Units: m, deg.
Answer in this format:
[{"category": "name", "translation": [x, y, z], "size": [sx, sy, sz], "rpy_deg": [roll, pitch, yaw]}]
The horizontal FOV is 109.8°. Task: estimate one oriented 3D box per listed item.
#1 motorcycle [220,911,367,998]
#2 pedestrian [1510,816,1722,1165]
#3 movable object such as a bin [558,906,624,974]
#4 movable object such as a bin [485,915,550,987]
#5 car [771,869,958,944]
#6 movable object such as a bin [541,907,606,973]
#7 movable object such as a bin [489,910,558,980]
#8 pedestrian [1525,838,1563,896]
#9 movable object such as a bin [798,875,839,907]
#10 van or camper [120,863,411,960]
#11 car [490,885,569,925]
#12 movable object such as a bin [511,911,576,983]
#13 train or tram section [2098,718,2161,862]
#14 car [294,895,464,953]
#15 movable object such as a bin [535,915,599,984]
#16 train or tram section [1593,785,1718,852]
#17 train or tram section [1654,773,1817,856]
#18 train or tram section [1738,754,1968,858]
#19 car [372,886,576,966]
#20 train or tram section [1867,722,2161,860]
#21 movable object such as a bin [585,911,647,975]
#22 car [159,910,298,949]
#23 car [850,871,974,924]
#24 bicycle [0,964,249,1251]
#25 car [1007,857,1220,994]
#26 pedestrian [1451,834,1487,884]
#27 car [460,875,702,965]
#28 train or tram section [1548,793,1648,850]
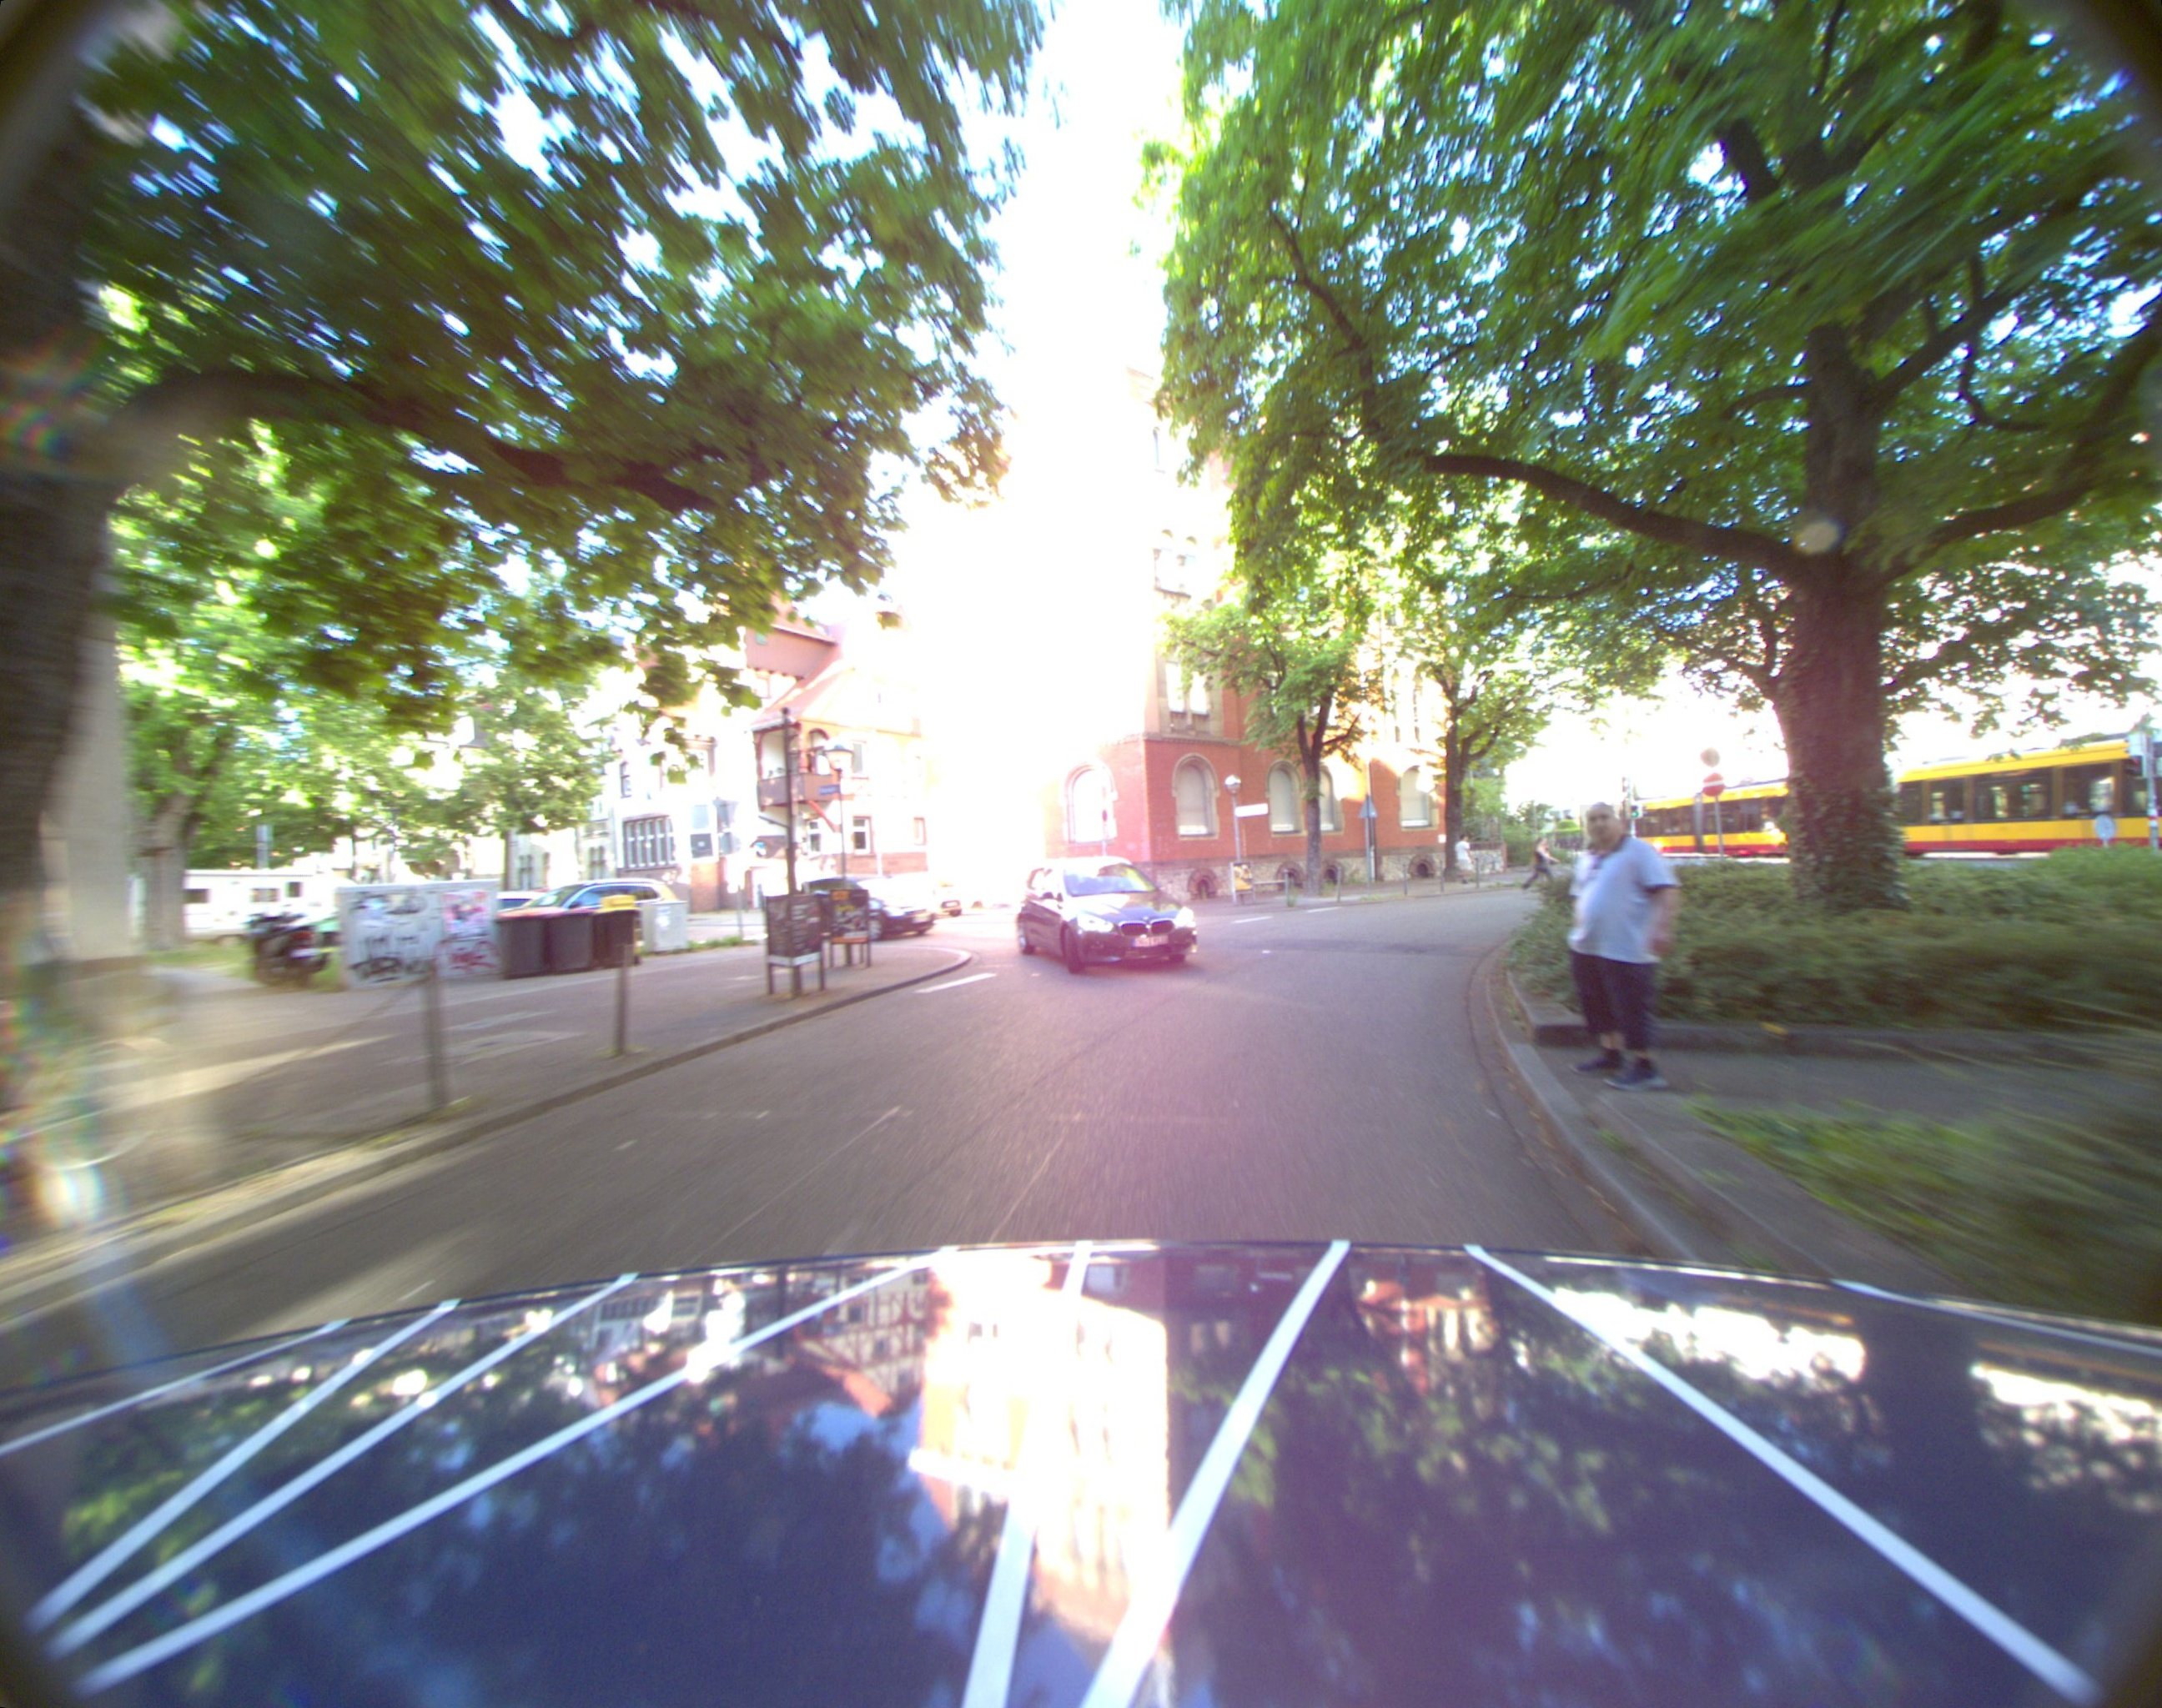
[{"category": "motorcycle", "translation": [-13.019, 1.635, 12.563], "size": [2.177, 1.272, 0.980], "rpy_deg": [-3, 0, 24]}, {"category": "pedestrian", "translation": [2.988, 0.657, 4.231], "size": [0.778, 1.674, 0.920], "rpy_deg": [-3, 0, 43]}, {"category": "movable object such as a bin", "translation": [-8.983, 1.558, 13.937], "size": [0.700, 1.146, 0.741], "rpy_deg": [-3, 0, 34]}, {"category": "movable object such as a bin", "translation": [-9.170, 1.568, 12.375], "size": [0.672, 1.077, 0.594], "rpy_deg": [-3, 0, 32]}, {"category": "car", "translation": [-5.487, 1.334, 19.185], "size": [4.252, 1.584, 2.003], "rpy_deg": [-4, 1, 29]}, {"category": "movable object such as a bin", "translation": [-9.581, 1.603, 14.357], "size": [0.714, 1.146, 0.741], "rpy_deg": [-3, 0, 34]}, {"category": "movable object such as a bin", "translation": [-10.038, 1.623, 13.685], "size": [0.700, 1.146, 0.741], "rpy_deg": [-3, 0, 34]}, {"category": "pedestrian", "translation": [13.140, 0.360, 21.571], "size": [0.853, 1.595, 0.603], "rpy_deg": [-3, 0, 32]}, {"category": "movable object such as a bin", "translation": [-11.864, 1.665, 34.326], "size": [0.966, 1.291, 1.383], "rpy_deg": [-3, 1, 43]}, {"category": "van or camper", "translation": [-30.750, 2.022, 29.088], "size": [2.458, 3.059, 7.112], "rpy_deg": [-3, 0, 31]}, {"category": "car", "translation": [-29.391, 2.715, 40.468], "size": [4.313, 1.896, 1.807], "rpy_deg": [-3, 2, 33]}, {"category": "movable object such as a bin", "translation": [-9.379, 1.609, 13.259], "size": [0.700, 1.146, 0.635], "rpy_deg": [-4, 1, 34]}, {"category": "train or tram section", "translation": [28.318, -1.668, 17.097], "size": [2.917, 3.619, 6.352], "rpy_deg": [-3, 0, 11]}, {"category": "car", "translation": [-21.952, 2.147, 23.878], "size": [1.673, 1.496, 3.608], "rpy_deg": [-4, -2, 34]}, {"category": "movable object such as a bin", "translation": [-8.716, 1.604, 12.892], "size": [0.703, 1.069, 0.632], "rpy_deg": [-3, 0, 34]}, {"category": "train or tram section", "translation": [33.978, -2.017, 45.346], "size": [2.969, 3.487, 7.194], "rpy_deg": [-4, 1, 11]}, {"category": "train or tram section", "translation": [32.547, -1.866, 38.282], "size": [2.935, 3.570, 7.194], "rpy_deg": [-4, 1, 11]}, {"category": "train or tram section", "translation": [31.140, -1.764, 31.210], "size": [2.929, 3.578, 7.195], "rpy_deg": [-4, 0, 11]}, {"category": "car", "translation": [-15.482, 1.765, 19.553], "size": [1.699, 1.641, 3.712], "rpy_deg": [-3, 0, 36]}, {"category": "train or tram section", "translation": [29.674, -1.727, 23.839], "size": [2.917, 3.593, 7.866], "rpy_deg": [-3, 0, 11]}, {"category": "movable object such as a bin", "translation": [-8.312, 1.574, 13.581], "size": [0.693, 1.058, 0.660], "rpy_deg": [-3, 0, 34]}, {"category": "car", "translation": [-38.765, 3.390, 34.641], "size": [1.783, 1.464, 3.896], "rpy_deg": [-2, -2, 28]}, {"category": "car", "translation": [-5.600, 1.437, 25.019], "size": [3.787, 1.477, 1.713], "rpy_deg": [-3, 2, 33]}, {"category": "bicycle", "translation": [-5.314, 1.262, 3.721], "size": [0.555, 1.175, 1.790], "rpy_deg": [-3, 0, -5]}, {"category": "car", "translation": [0.237, 0.938, 11.877], "size": [1.926, 1.597, 4.511], "rpy_deg": [-3, 0, -16]}, {"category": "pedestrian", "translation": [13.131, 0.159, 25.759], "size": [0.859, 1.633, 0.871], "rpy_deg": [-3, 0, 15]}, {"category": "car", "translation": [-11.321, 1.445, 17.517], "size": [2.019, 1.702, 4.127], "rpy_deg": [-4, -2, 29]}, {"category": "train or tram section", "translation": [35.389, -2.143, 52.383], "size": [2.969, 3.487, 7.194], "rpy_deg": [-4, 1, 11]}]
